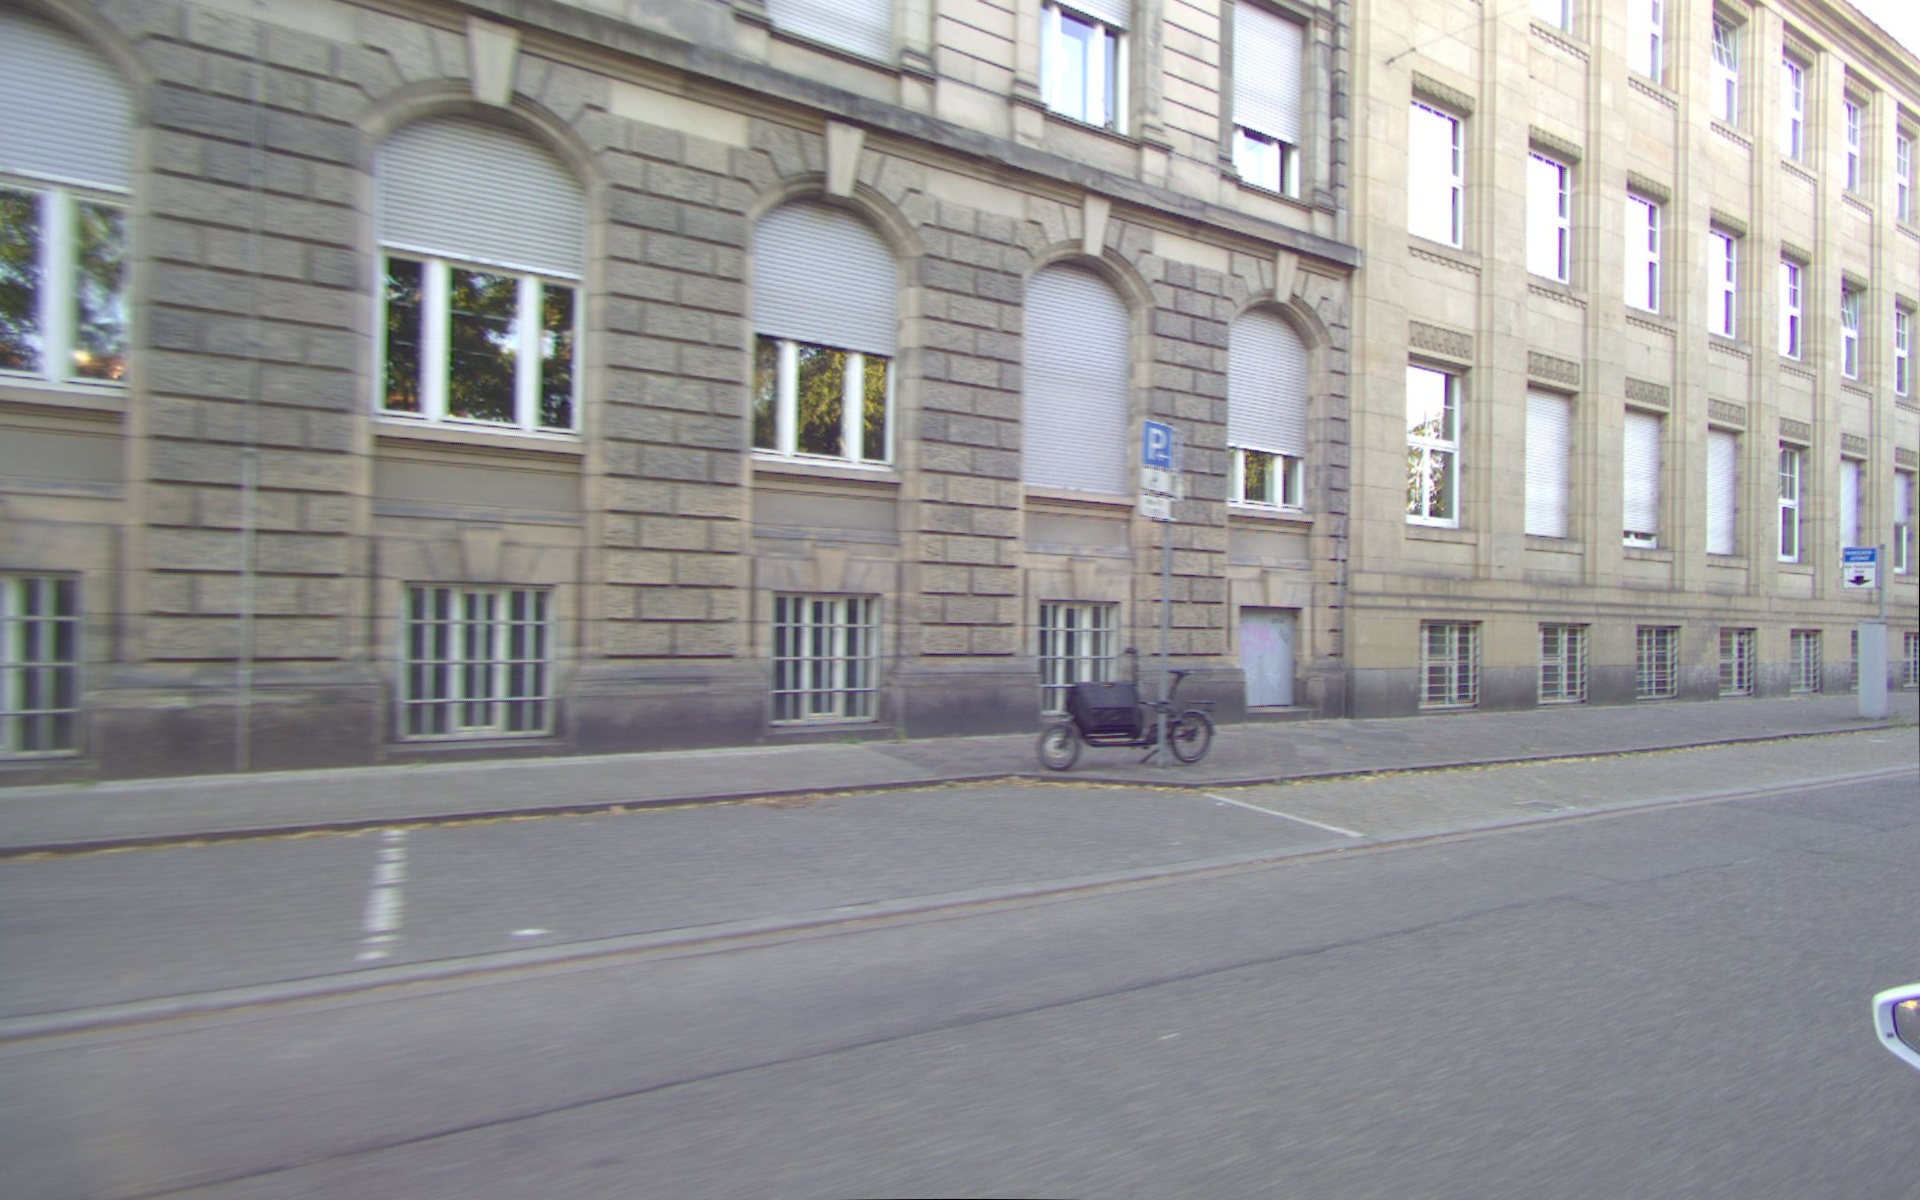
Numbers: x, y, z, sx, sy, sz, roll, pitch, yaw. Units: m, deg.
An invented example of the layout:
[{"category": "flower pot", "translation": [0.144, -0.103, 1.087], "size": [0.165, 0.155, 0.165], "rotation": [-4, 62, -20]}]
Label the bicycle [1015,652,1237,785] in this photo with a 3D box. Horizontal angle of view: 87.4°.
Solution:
[{"category": "bicycle", "translation": [1.600, 1.081, 9.620], "size": [1.956, 1.116, 0.849], "rotation": [2, 0, -27]}]
